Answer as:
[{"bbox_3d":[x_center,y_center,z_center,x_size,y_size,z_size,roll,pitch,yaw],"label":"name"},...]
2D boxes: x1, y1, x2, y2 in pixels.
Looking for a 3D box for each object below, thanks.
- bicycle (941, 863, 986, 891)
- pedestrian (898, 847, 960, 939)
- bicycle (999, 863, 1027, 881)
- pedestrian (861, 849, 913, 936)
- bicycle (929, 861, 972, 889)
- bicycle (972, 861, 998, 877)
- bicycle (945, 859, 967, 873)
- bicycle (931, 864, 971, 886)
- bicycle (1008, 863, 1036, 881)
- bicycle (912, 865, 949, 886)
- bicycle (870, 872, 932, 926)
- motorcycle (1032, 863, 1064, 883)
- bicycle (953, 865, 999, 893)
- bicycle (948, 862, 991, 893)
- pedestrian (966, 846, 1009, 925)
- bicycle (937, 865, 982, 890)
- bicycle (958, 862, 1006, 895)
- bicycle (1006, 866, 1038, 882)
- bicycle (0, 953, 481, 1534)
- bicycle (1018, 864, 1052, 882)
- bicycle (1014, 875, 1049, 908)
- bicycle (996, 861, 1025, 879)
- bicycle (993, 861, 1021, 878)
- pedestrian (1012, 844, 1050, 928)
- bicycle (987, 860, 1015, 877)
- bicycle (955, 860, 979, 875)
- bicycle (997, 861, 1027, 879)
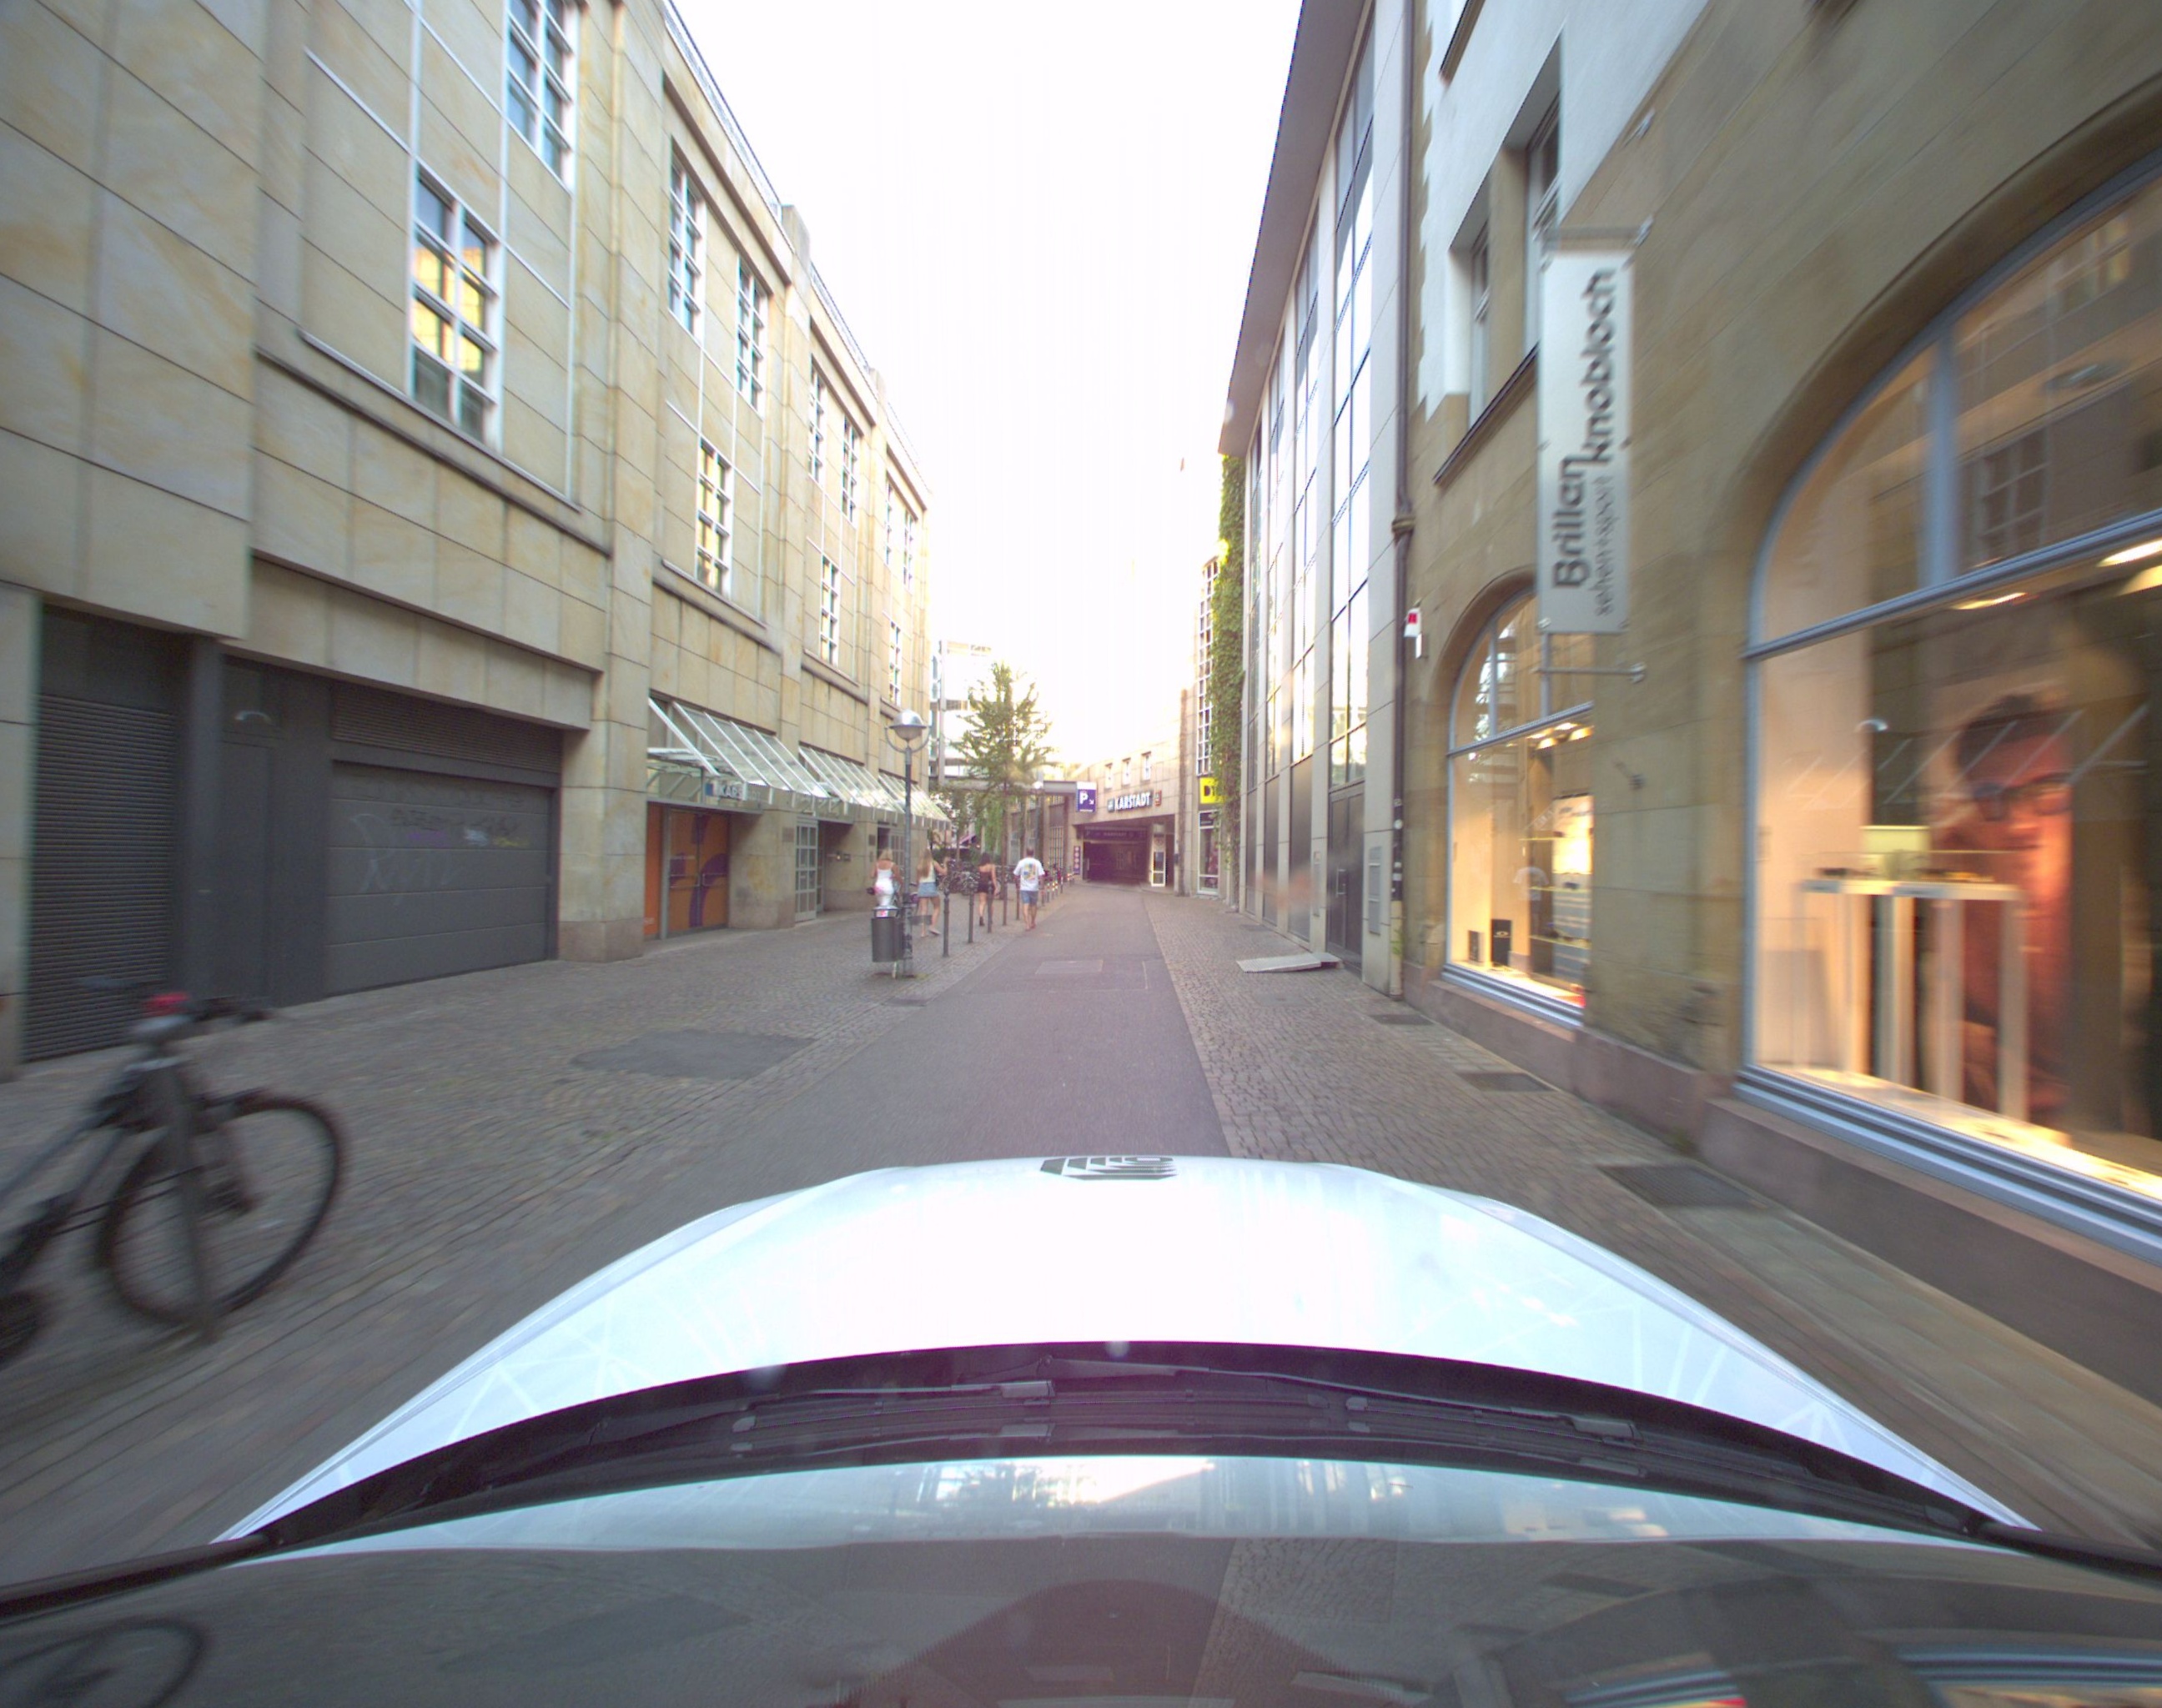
[{"bbox_3d":[-5.049,0.981,34.964,1.878,1.177,0.530,0,0,-20],"label":"bicycle"},{"bbox_3d":[-2.943,0.732,15.856,0.800,1.729,0.953,1,0,18],"label":"pedestrian"},{"bbox_3d":[-4.034,1.081,48.384,1.543,1.049,0.572,0,0,-18],"label":"bicycle"},{"bbox_3d":[-3.818,0.732,16.091,0.670,1.664,0.863,1,0,11],"label":"pedestrian"},{"bbox_3d":[-5.788,0.931,36.195,1.839,1.225,0.530,0,0,-20],"label":"bicycle"},{"bbox_3d":[-6.667,1.047,56.619,1.778,1.114,0.539,0,0,-18],"label":"bicycle"},{"bbox_3d":[-10.390,0.997,67.729,1.778,1.190,0.583,0,0,-18],"label":"bicycle"},{"bbox_3d":[-6.364,1.018,40.004,1.883,1.043,0.530,0,0,-20],"label":"bicycle"},{"bbox_3d":[-3.450,1.038,47.386,1.543,1.049,0.572,0,0,-18],"label":"bicycle"},{"bbox_3d":[-7.721,1.086,41.810,1.831,1.043,0.530,0,0,-20],"label":"bicycle"},{"bbox_3d":[-4.065,0.994,18.526,0.517,1.138,1.773,0,0,19],"label":"bicycle"},{"bbox_3d":[-1.802,1.009,43.898,1.667,1.050,0.461,0,0,-18],"label":"motorcycle"},{"bbox_3d":[-4.367,1.037,33.985,1.842,1.122,0.530,0,0,-20],"label":"bicycle"},{"bbox_3d":[-4.524,0.951,33.098,1.659,1.231,0.530,0,0,-20],"label":"bicycle"},{"bbox_3d":[-2.180,0.708,19.023,0.781,1.795,0.974,0,0,6],"label":"pedestrian"},{"bbox_3d":[-5.303,1.014,35.503,1.900,1.052,0.530,0,0,-20],"label":"bicycle"},{"bbox_3d":[-3.870,0.946,31.796,1.772,1.231,0.530,0,0,-20],"label":"bicycle"},{"bbox_3d":[-3.350,1.117,46.430,1.778,0.904,0.461,0,0,-18],"label":"bicycle"},{"bbox_3d":[-2.700,0.975,2.233,0.530,1.153,1.917,2,0,4],"label":"bicycle"},{"bbox_3d":[-2.594,1.071,45.553,1.853,0.982,0.461,0,0,-18],"label":"bicycle"},{"bbox_3d":[-1.529,1.156,25.260,0.489,0.939,1.667,2,0,18],"label":"bicycle"},{"bbox_3d":[-4.531,0.995,52.050,1.778,1.114,0.539,0,0,-18],"label":"bicycle"},{"bbox_3d":[-4.837,0.985,53.264,1.778,1.114,0.539,0,0,-18],"label":"bicycle"},{"bbox_3d":[-1.104,0.695,18.091,0.739,1.822,0.879,0,0,2],"label":"pedestrian"},{"bbox_3d":[-5.332,0.972,54.314,1.778,1.114,0.539,0,0,-18],"label":"bicycle"},{"bbox_3d":[-8.755,1.018,62.473,1.776,1.114,0.540,0,0,-16],"label":"bicycle"},{"bbox_3d":[-4.320,1.021,50.968,1.778,1.114,0.539,0,0,-18],"label":"bicycle"}]
